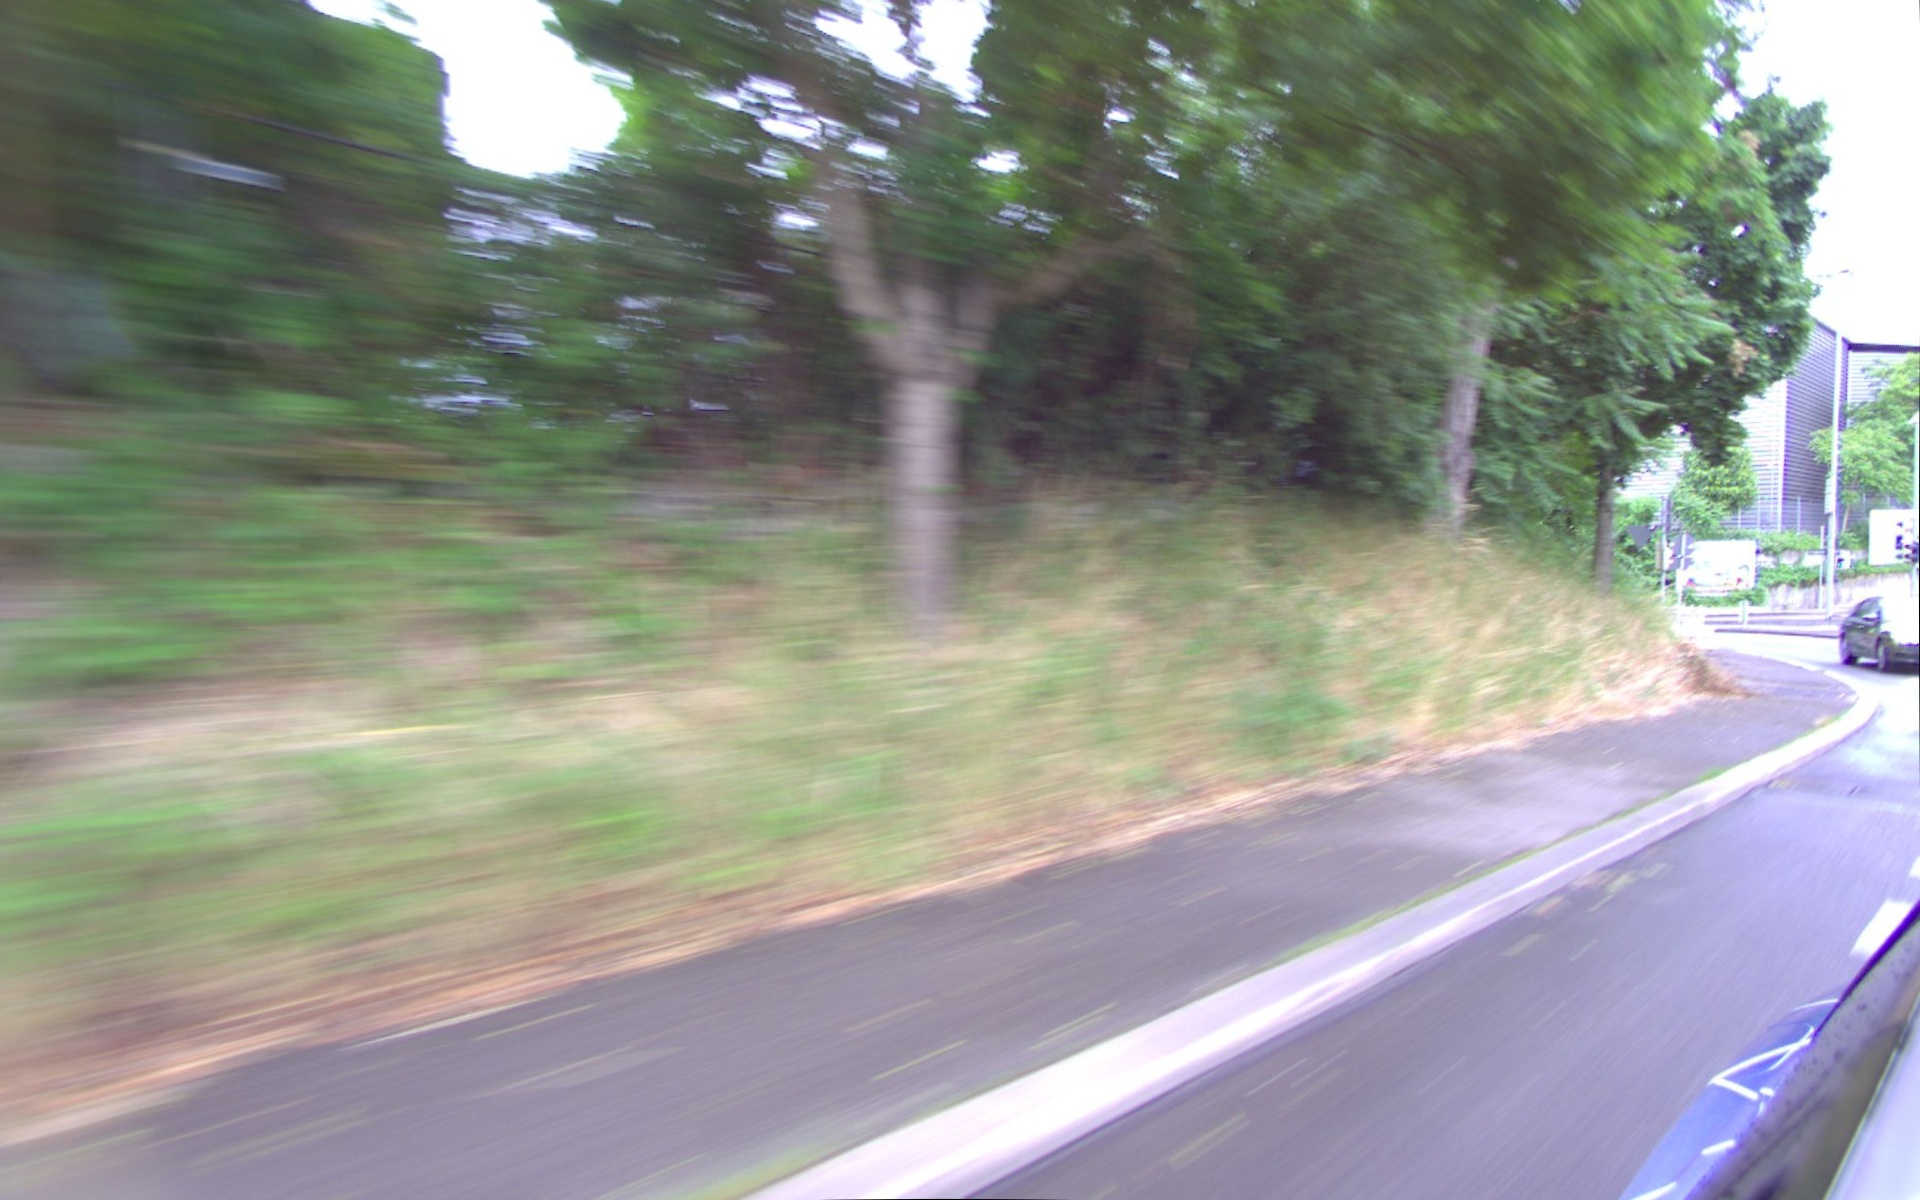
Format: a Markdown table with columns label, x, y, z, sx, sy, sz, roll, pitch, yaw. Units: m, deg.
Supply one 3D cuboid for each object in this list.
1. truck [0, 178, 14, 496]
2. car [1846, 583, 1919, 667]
| label | x | y | z | sx | sy | sz | roll | pitch | yaw |
| --- | --- | --- | --- | --- | --- | --- | --- | --- | --- |
| truck | -9.547 | -2.146 | 5.704 | 5.948 | 2.684 | 2.288 | -3 | -2 | -40 |
| car | 19.196 | 0.454 | 20.005 | 1.797 | 1.537 | 4.007 | -1 | -1 | 31 |
